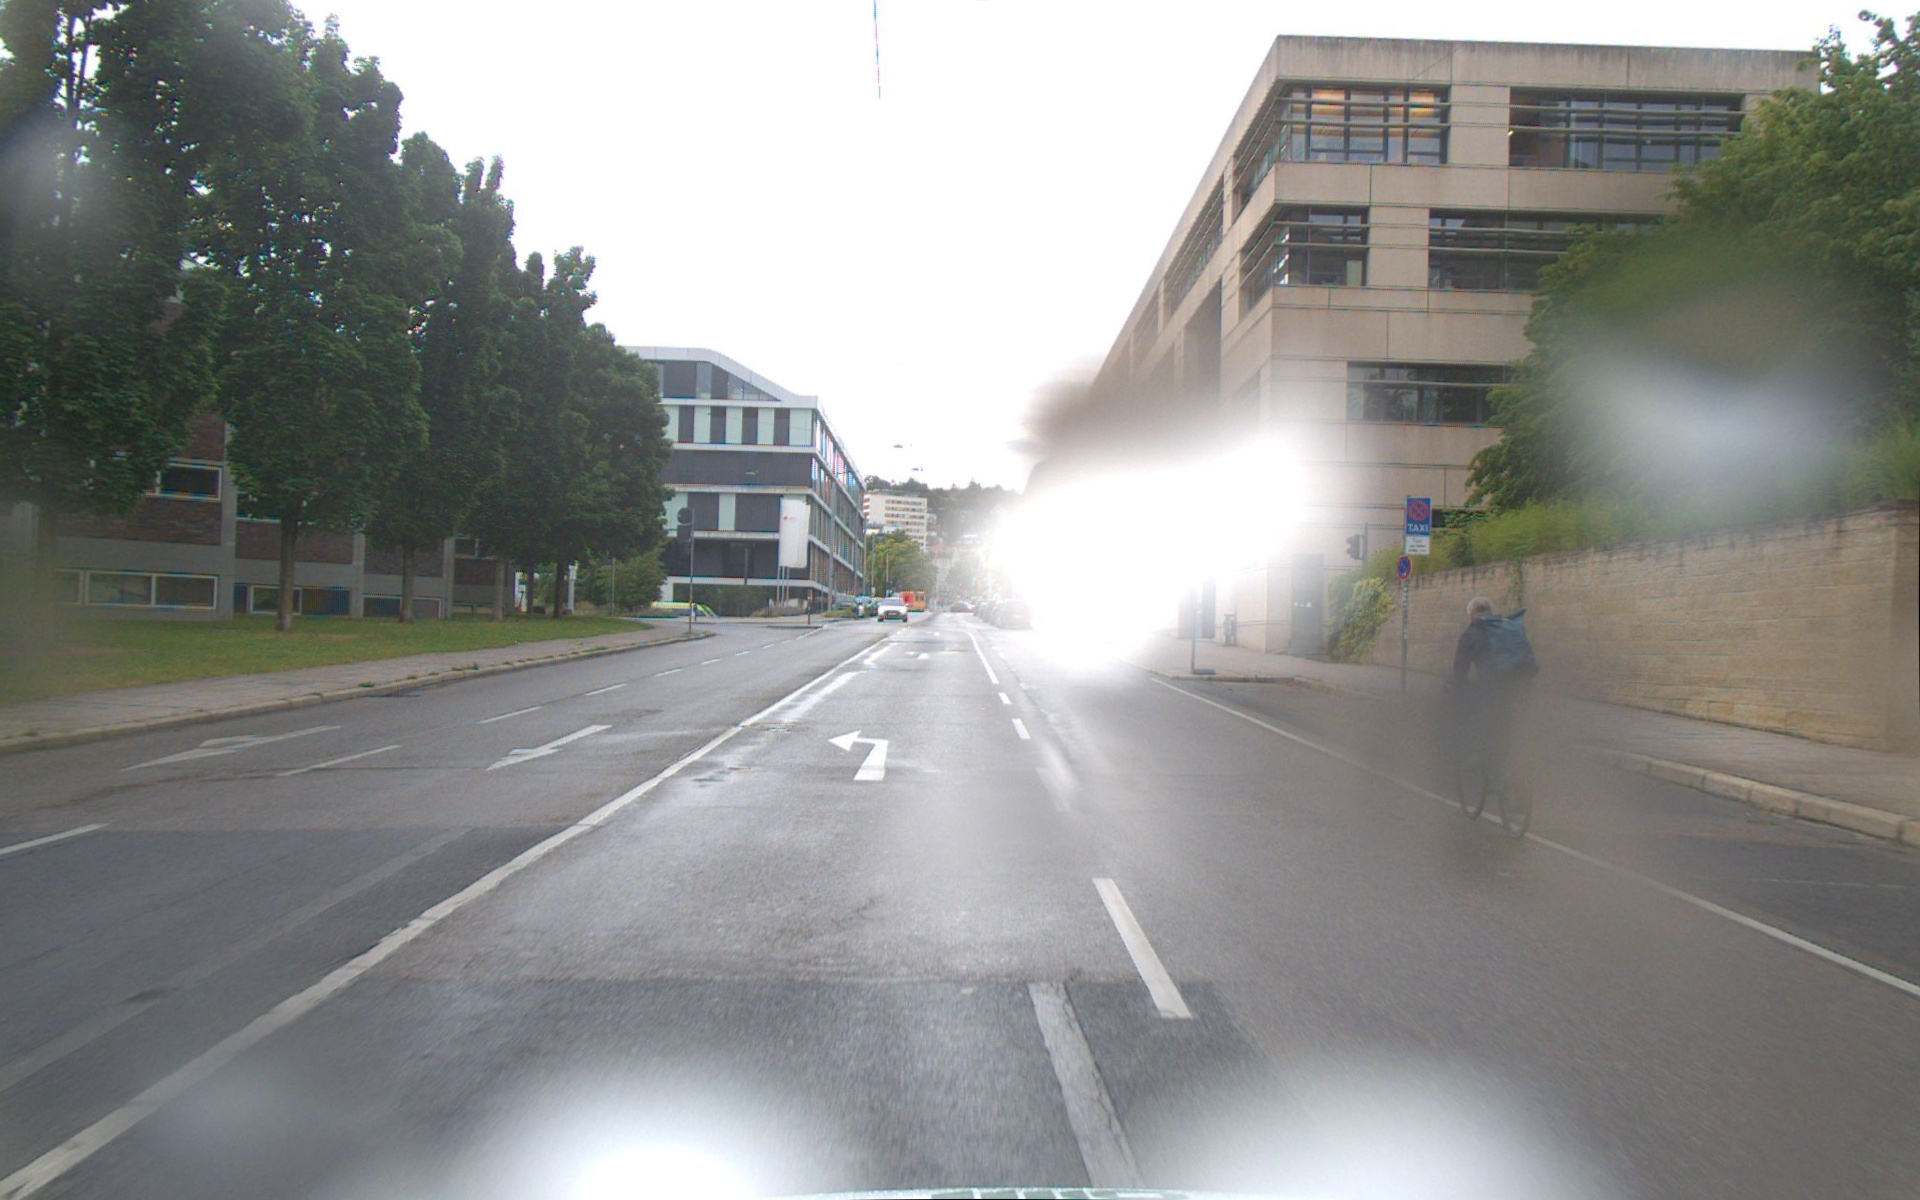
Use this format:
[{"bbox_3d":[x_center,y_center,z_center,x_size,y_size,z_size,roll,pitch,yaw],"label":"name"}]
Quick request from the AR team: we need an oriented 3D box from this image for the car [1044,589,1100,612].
[{"bbox_3d":[9.210,0.037,136.268,4.348,1.742,1.904,-2,0,-1],"label":"car"}]

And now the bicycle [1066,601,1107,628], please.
[{"bbox_3d":[5.508,0.617,71.997,1.696,1.138,0.659,1,-1,-6],"label":"bicycle"}]

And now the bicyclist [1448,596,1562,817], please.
[{"bbox_3d":[3.791,0.717,11.551,0.474,1.458,0.930,2,-1,2],"label":"bicyclist"}]

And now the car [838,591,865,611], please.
[{"bbox_3d":[-8.438,0.088,129.402,1.784,1.443,4.402,2,0,0],"label":"car"}]

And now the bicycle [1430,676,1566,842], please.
[{"bbox_3d":[3.779,1.084,11.718,0.438,0.980,1.690,1,1,2],"label":"bicycle"}]

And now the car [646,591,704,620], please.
[{"bbox_3d":[-23.235,0.436,134.867,4.502,2.212,1.929,2,-1,-6],"label":"car"}]

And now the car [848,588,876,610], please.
[{"bbox_3d":[-8.250,-0.074,139.550,1.922,1.780,4.943,2,0,2],"label":"car"}]

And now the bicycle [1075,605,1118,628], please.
[{"bbox_3d":[5.859,0.698,71.021,1.724,0.970,0.659,1,-1,-4],"label":"bicycle"}]

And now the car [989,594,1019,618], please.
[{"bbox_3d":[2.927,0.399,110.799,1.708,1.560,4.318,2,0,-2],"label":"car"}]

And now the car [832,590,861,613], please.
[{"bbox_3d":[-8.428,0.123,122.699,1.811,1.646,4.490,2,0,0],"label":"car"}]

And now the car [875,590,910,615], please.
[{"bbox_3d":[-4.387,0.152,108.271,1.842,1.517,5.221,-1,0,2],"label":"car"}]

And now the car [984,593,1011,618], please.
[{"bbox_3d":[2.847,0.431,127.480,1.896,1.780,4.796,2,0,-1],"label":"car"}]

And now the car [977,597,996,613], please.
[{"bbox_3d":[2.575,0.524,161.832,1.671,1.479,3.984,2,0,-1],"label":"car"}]

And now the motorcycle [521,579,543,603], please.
[{"bbox_3d":[-22.279,-0.471,86.075,1.204,1.206,0.411,1,-1,38],"label":"motorcycle"}]

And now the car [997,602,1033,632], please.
[{"bbox_3d":[3.124,0.938,94.805,1.735,1.632,4.393,2,0,-2],"label":"car"}]
